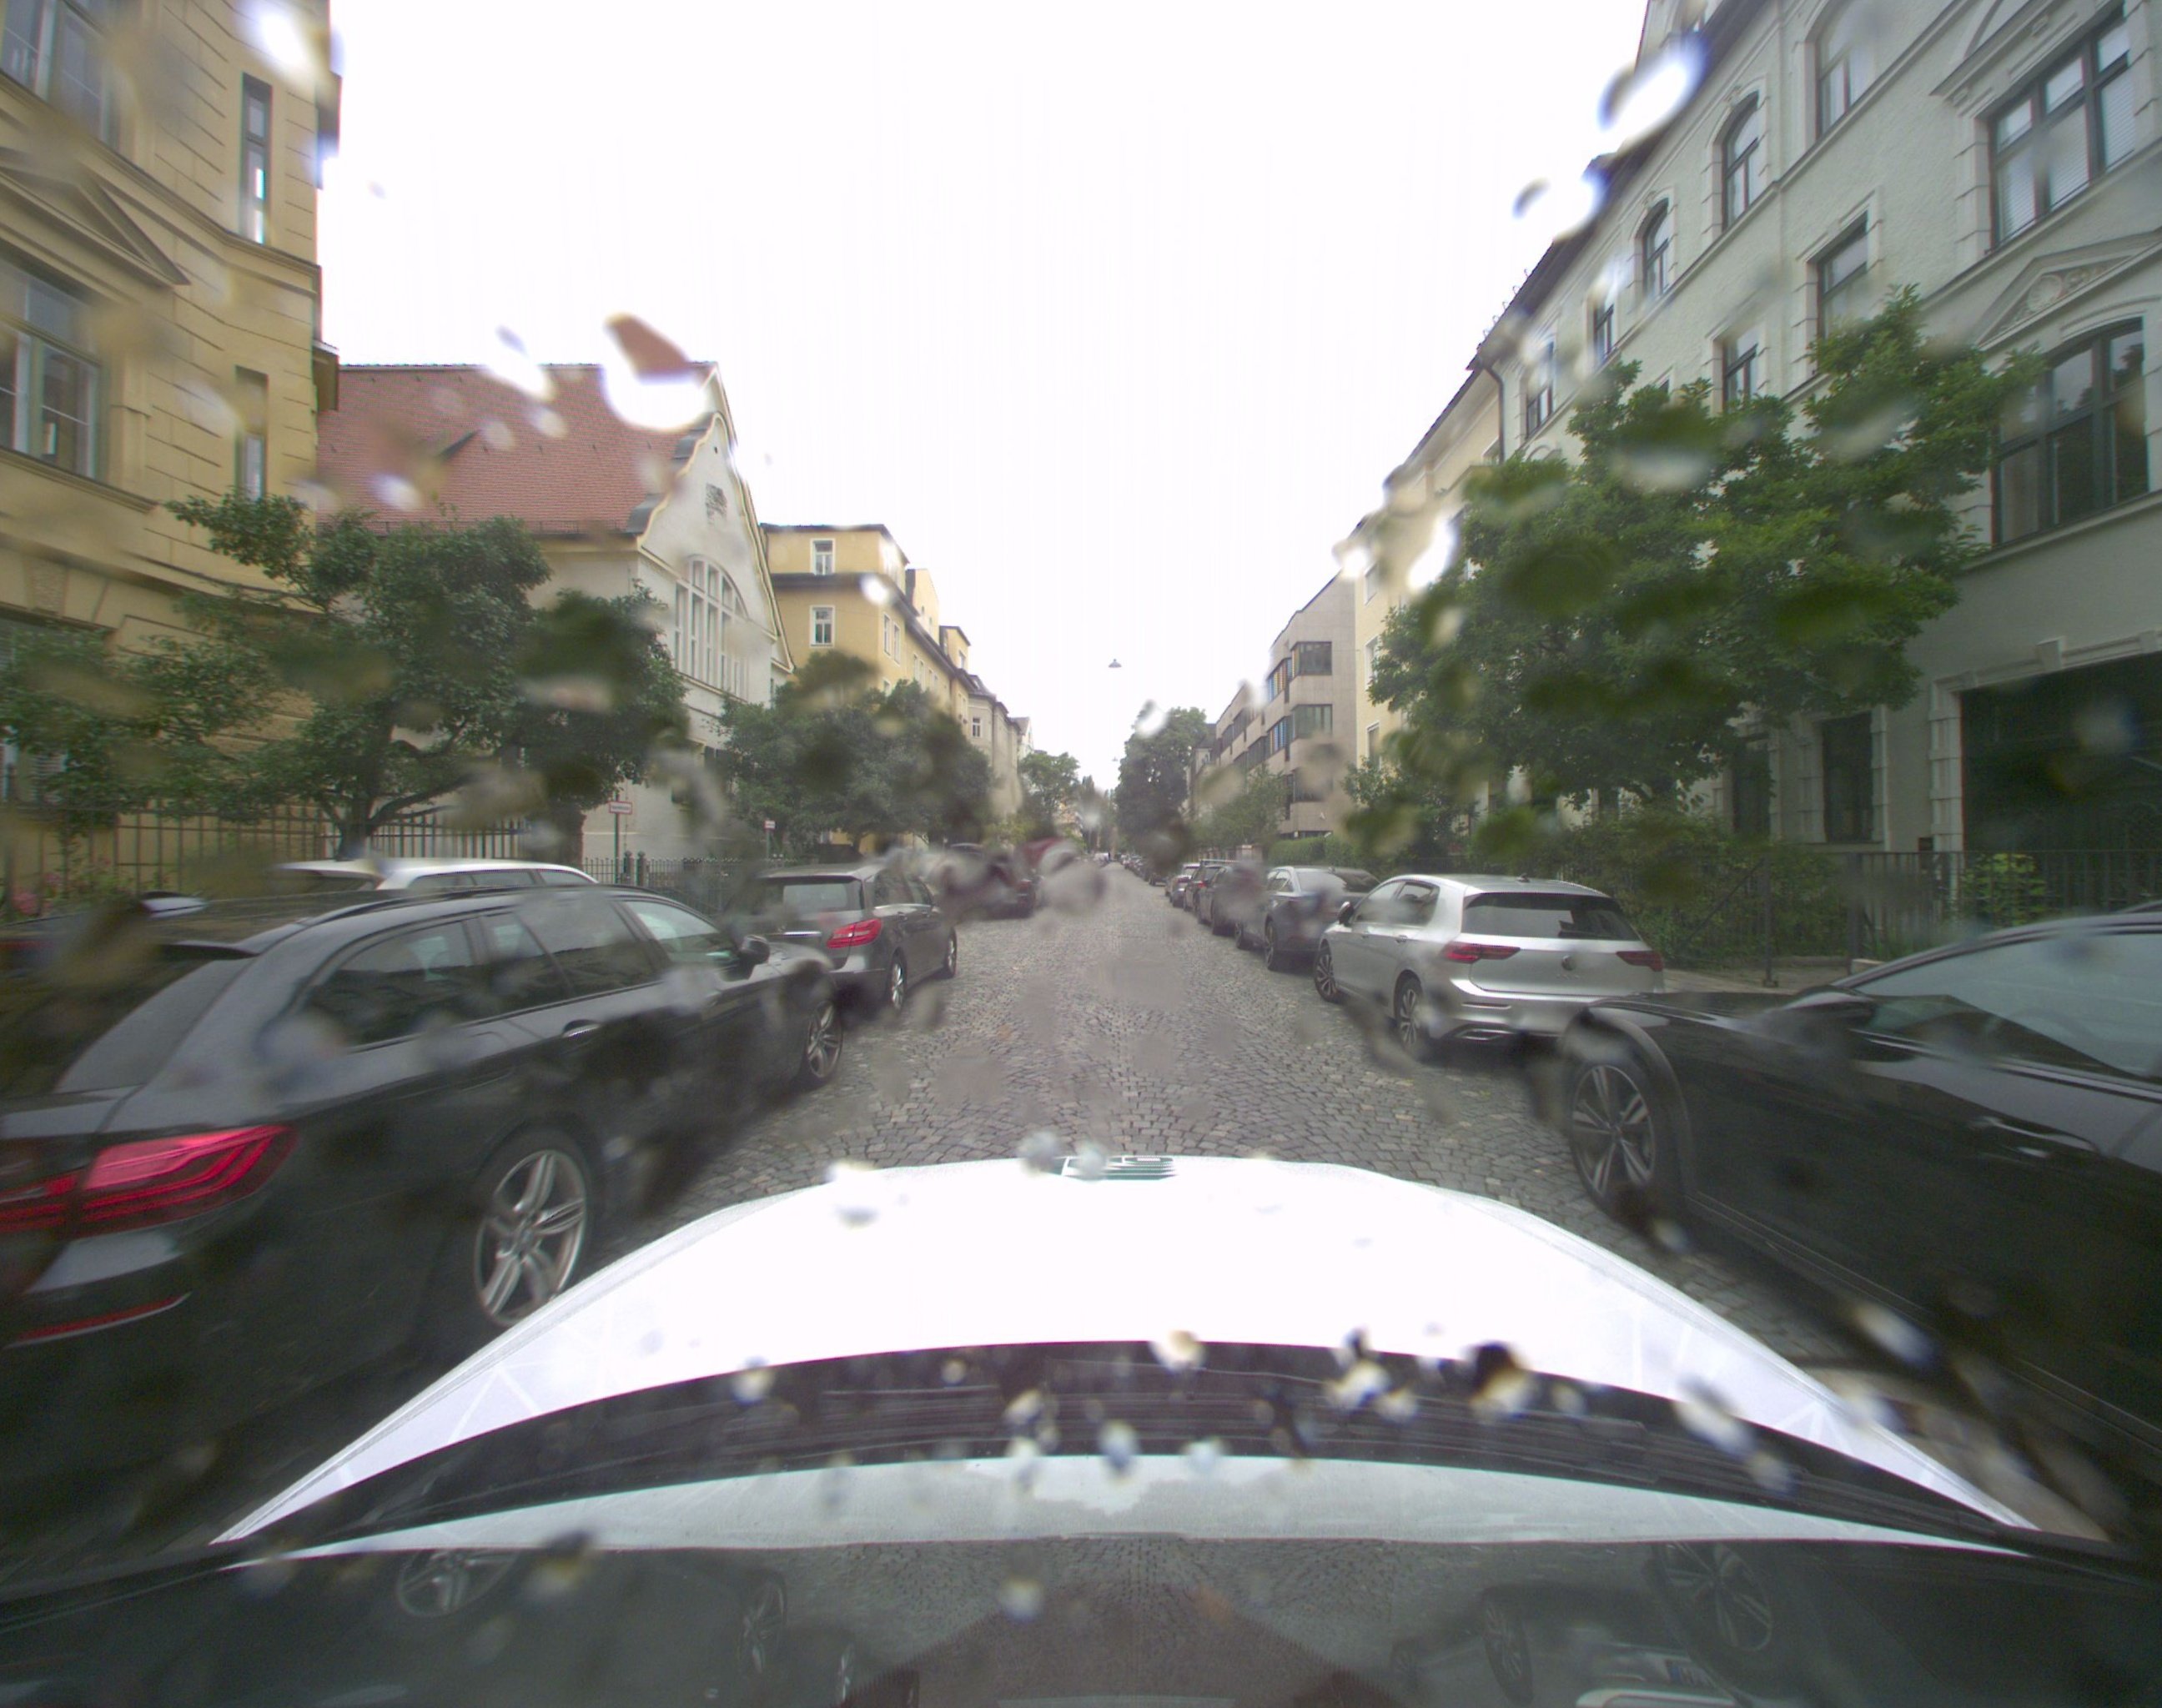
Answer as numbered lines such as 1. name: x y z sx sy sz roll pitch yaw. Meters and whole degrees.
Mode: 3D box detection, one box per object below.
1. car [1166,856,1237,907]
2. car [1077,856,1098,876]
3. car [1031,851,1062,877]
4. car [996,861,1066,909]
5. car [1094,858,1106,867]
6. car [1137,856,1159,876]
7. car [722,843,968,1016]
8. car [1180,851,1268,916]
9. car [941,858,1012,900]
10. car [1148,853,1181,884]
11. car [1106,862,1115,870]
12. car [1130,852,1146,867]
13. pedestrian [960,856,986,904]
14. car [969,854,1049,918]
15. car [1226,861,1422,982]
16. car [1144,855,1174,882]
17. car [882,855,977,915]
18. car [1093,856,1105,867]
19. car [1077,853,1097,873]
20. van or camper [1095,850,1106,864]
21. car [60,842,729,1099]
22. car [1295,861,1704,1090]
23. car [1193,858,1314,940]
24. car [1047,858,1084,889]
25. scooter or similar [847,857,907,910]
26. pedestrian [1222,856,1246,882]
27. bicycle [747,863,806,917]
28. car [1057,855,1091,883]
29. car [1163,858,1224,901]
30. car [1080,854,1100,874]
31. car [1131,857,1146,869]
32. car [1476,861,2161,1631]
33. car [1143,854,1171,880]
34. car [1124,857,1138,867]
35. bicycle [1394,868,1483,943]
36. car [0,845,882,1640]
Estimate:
1. car: 4.074 0.884 28.272 1.985 1.552 4.990 2 0 3
2. car: 0.571 1.099 76.956 1.859 1.735 4.402 -3 0 0
3. car: -2.635 0.755 63.220 1.987 1.931 5.332 1 0 1
4. car: -1.634 1.014 28.417 1.807 1.455 4.917 -3 -1 3
5. car: 3.631 1.544 151.154 1.864 1.580 4.214 2 0 6
6. car: 6.095 1.083 74.682 1.865 1.735 4.896 2 0 4
7. car: -2.521 0.729 9.790 1.734 1.586 4.190 -1 -1 -1
8. car: 3.991 0.784 23.359 1.886 1.654 4.296 1 0 2
9. car: -3.814 0.869 30.533 1.768 1.417 4.565 1 0 3
10. car: 5.067 0.850 49.695 1.613 1.751 3.888 3 0 1
11. car: 6.462 2.638 178.911 1.986 1.728 4.001 2 -1 2
12. car: 7.858 0.756 113.144 1.867 1.928 5.164 2 0 0
13. pedestrian: -3.723 0.892 28.166 0.762 1.650 0.583 1 -1 3
14. car: -1.966 0.849 23.430 1.733 1.603 4.538 -1 -1 2
15. car: 3.594 0.898 13.021 1.875 1.488 4.817 2 0 3
16. car: 5.529 1.009 58.161 1.853 1.702 4.816 3 0 2
17. car: -4.210 0.823 23.380 1.733 1.536 4.468 1 0 2
18. car: 2.942 1.205 133.552 1.867 1.580 4.255 -3 0 0
19. car: 0.635 0.879 82.098 1.866 1.917 4.829 -2 0 1
20. van or camper: 4.018 0.632 166.087 1.985 2.652 4.003 -3 -1 3
21. car: -4.984 0.696 6.972 1.834 1.466 4.392 1 0 2
22. car: 3.430 0.841 7.771 1.748 1.460 4.483 2 0 3
23. car: 3.665 0.880 18.159 1.811 1.488 5.053 3 0 3
24. car: -0.772 1.024 44.134 1.707 1.562 4.392 -2 0 2
25. scooter or similar: -6.197 0.857 24.898 1.058 1.523 2.636 0 0 3
26. pedestrian: 9.040 0.874 48.123 1.211 1.493 1.131 -3 -1 4
27. bicycle: -7.557 0.855 20.314 0.603 1.259 2.061 0 0 3
28. car: -0.417 1.037 57.506 1.998 1.809 5.178 -2 0 3
29. car: 4.531 0.990 33.512 1.986 1.552 5.017 2 0 2
30. car: 0.987 1.055 88.516 1.986 1.917 5.179 -4 0 1
31. car: 7.567 1.138 107.435 1.829 1.490 4.425 2 0 3
32. car: 3.120 0.814 2.107 1.897 1.503 5.109 3 0 3
33. car: 5.902 1.000 63.597 1.782 1.796 4.510 4 0 1
34. car: 7.691 1.203 125.153 1.867 1.503 4.511 2 0 0
35. bicycle: 6.201 0.860 14.220 0.580 1.195 1.641 1 0 -12
36. car: -2.616 0.762 4.089 1.863 1.470 5.134 -1 -1 1
